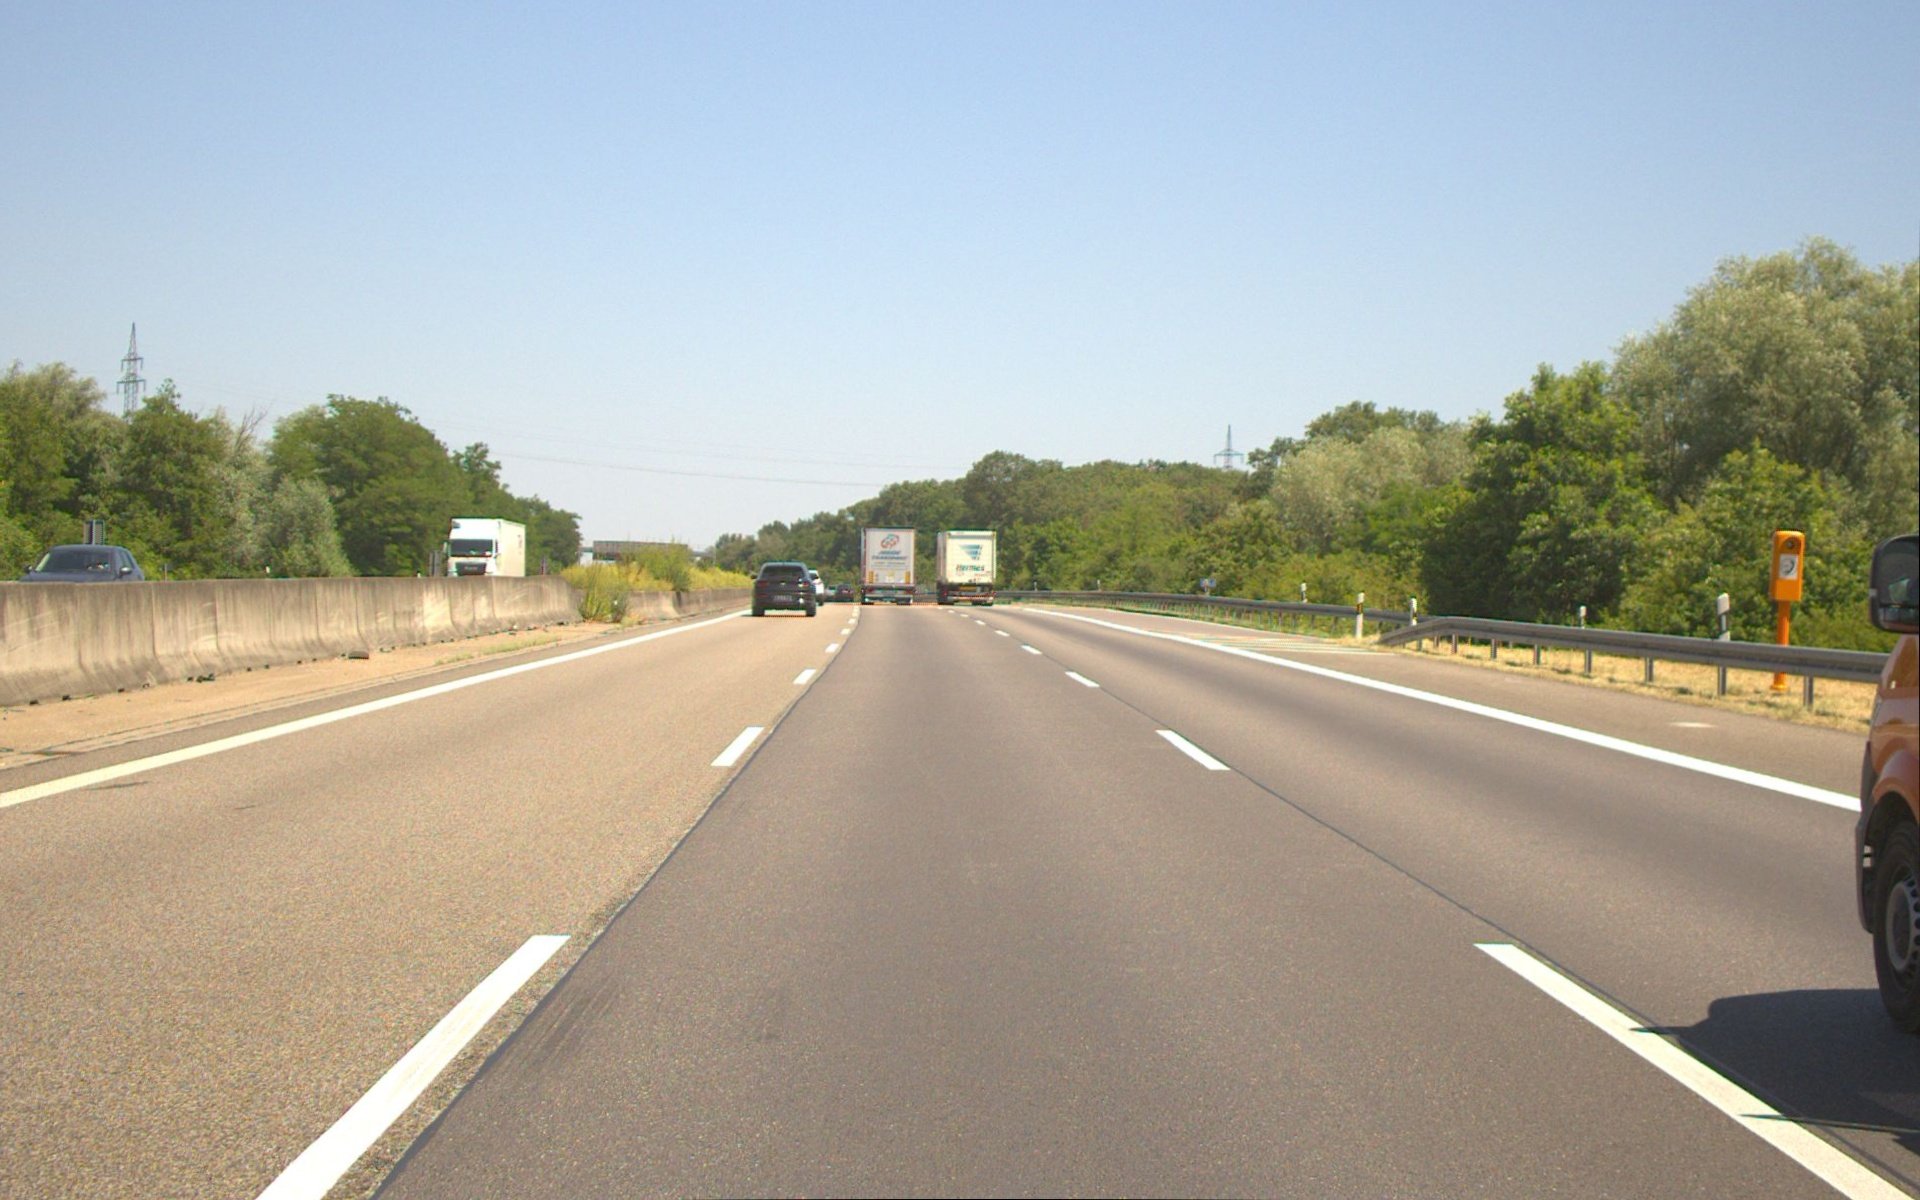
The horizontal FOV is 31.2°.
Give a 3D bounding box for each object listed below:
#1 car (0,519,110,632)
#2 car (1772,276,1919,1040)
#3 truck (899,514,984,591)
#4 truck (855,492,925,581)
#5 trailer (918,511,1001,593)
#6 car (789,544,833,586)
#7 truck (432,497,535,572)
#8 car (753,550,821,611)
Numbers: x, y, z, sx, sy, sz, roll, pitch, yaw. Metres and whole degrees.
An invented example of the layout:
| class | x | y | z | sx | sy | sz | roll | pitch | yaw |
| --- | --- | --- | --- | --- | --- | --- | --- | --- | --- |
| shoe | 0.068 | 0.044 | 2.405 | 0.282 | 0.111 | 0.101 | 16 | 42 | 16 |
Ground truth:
| class | x | y | z | sx | sy | sz | roll | pitch | yaw |
| --- | --- | --- | --- | --- | --- | --- | --- | --- | --- |
| car | -17.317 | -0.491 | 64.004 | 1.993 | 2.007 | 4.086 | 1 | 1 | -1 |
| car | 4.039 | 0.226 | 8.965 | 1.993 | 2.397 | 7.227 | 1 | 1 | -1 |
| truck | -1.089 | -2.652 | 189.403 | 3.325 | 4.039 | 10.956 | 1 | 1 | -7 |
| truck | -3.598 | -3.214 | 173.916 | 3.229 | 4.187 | 8.467 | 3 | 1 | -2 |
| trailer | -0.078 | -2.519 | 180.444 | 3.367 | 4.128 | 9.093 | 1 | 1 | -6 |
| car | -6.963 | -1.626 | 160.709 | 1.993 | 1.868 | 4.001 | 2 | 1 | -2 |
| truck | -25.224 | -3.435 | 182.842 | 3.598 | 3.722 | 17.487 | 1 | 1 | -2 |
| car | -5.551 | -0.652 | 110.551 | 1.993 | 1.868 | 4.000 | 1 | 1 | -1 |
